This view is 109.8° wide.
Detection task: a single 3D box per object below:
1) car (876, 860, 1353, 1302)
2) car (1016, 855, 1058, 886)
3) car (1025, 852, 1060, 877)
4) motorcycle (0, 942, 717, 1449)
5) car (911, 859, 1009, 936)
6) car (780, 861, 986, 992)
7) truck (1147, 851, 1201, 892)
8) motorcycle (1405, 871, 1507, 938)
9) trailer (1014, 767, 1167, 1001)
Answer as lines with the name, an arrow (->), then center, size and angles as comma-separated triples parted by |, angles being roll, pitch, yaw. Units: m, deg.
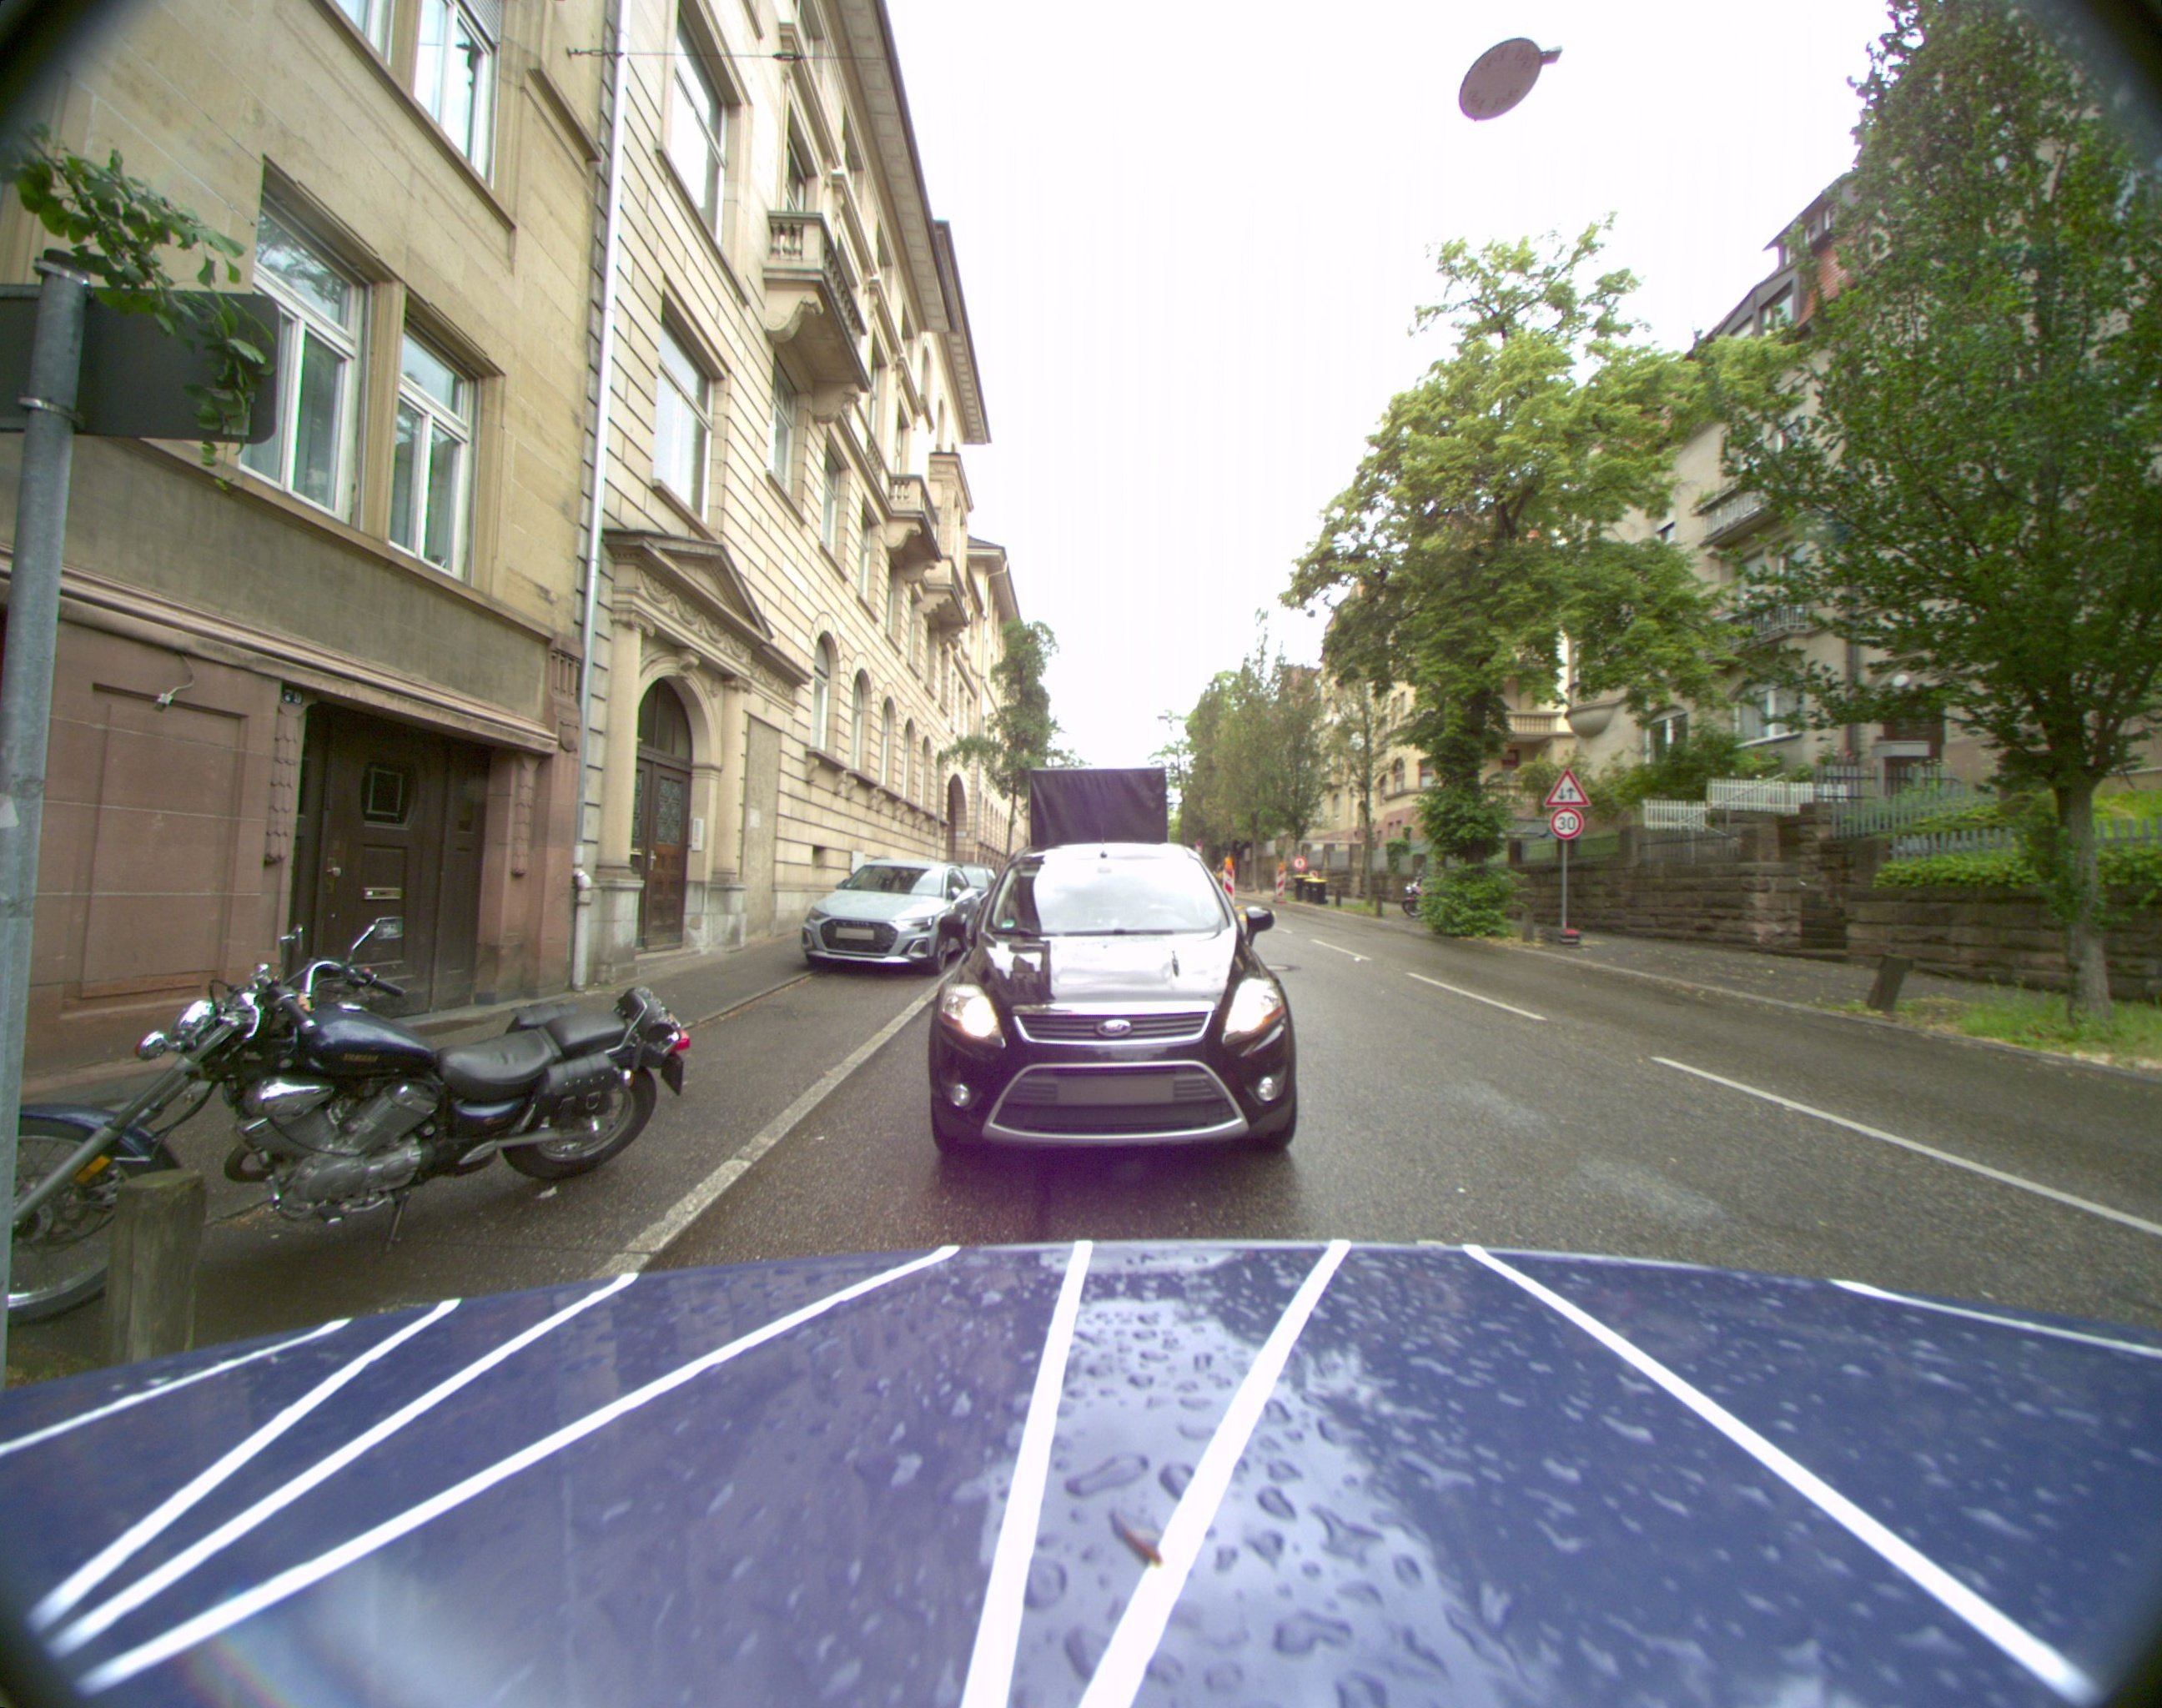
car -> 0.184, 0.888, 5.173 | 1.823, 1.662, 4.522 | 0, 0, 1
car -> -2.414, 0.888, 42.452 | 1.910, 1.502, 4.318 | 3, 0, 1
car -> -2.529, 0.674, 50.730 | 1.910, 1.502, 4.318 | 3, 0, 1
motorcycle -> -2.615, 1.000, 2.732 | 0.523, 1.236, 2.282 | 3, -1, 39
car -> -2.572, 0.889, 16.783 | 1.495, 1.440, 3.181 | 3, 0, 1
car -> -2.637, 0.887, 11.153 | 1.794, 1.444, 4.039 | 3, 0, 1
truck -> 4.592, 0.837, 38.183 | 2.075, 1.825, 5.154 | 2, 0, 1
motorcycle -> 8.881, 1.141, 18.192 | 0.802, 1.406, 3.061 | -2, 0, -2
trailer -> 0.113, 0.336, 11.338 | 1.783, 2.744, 4.816 | 0, 1, 0
